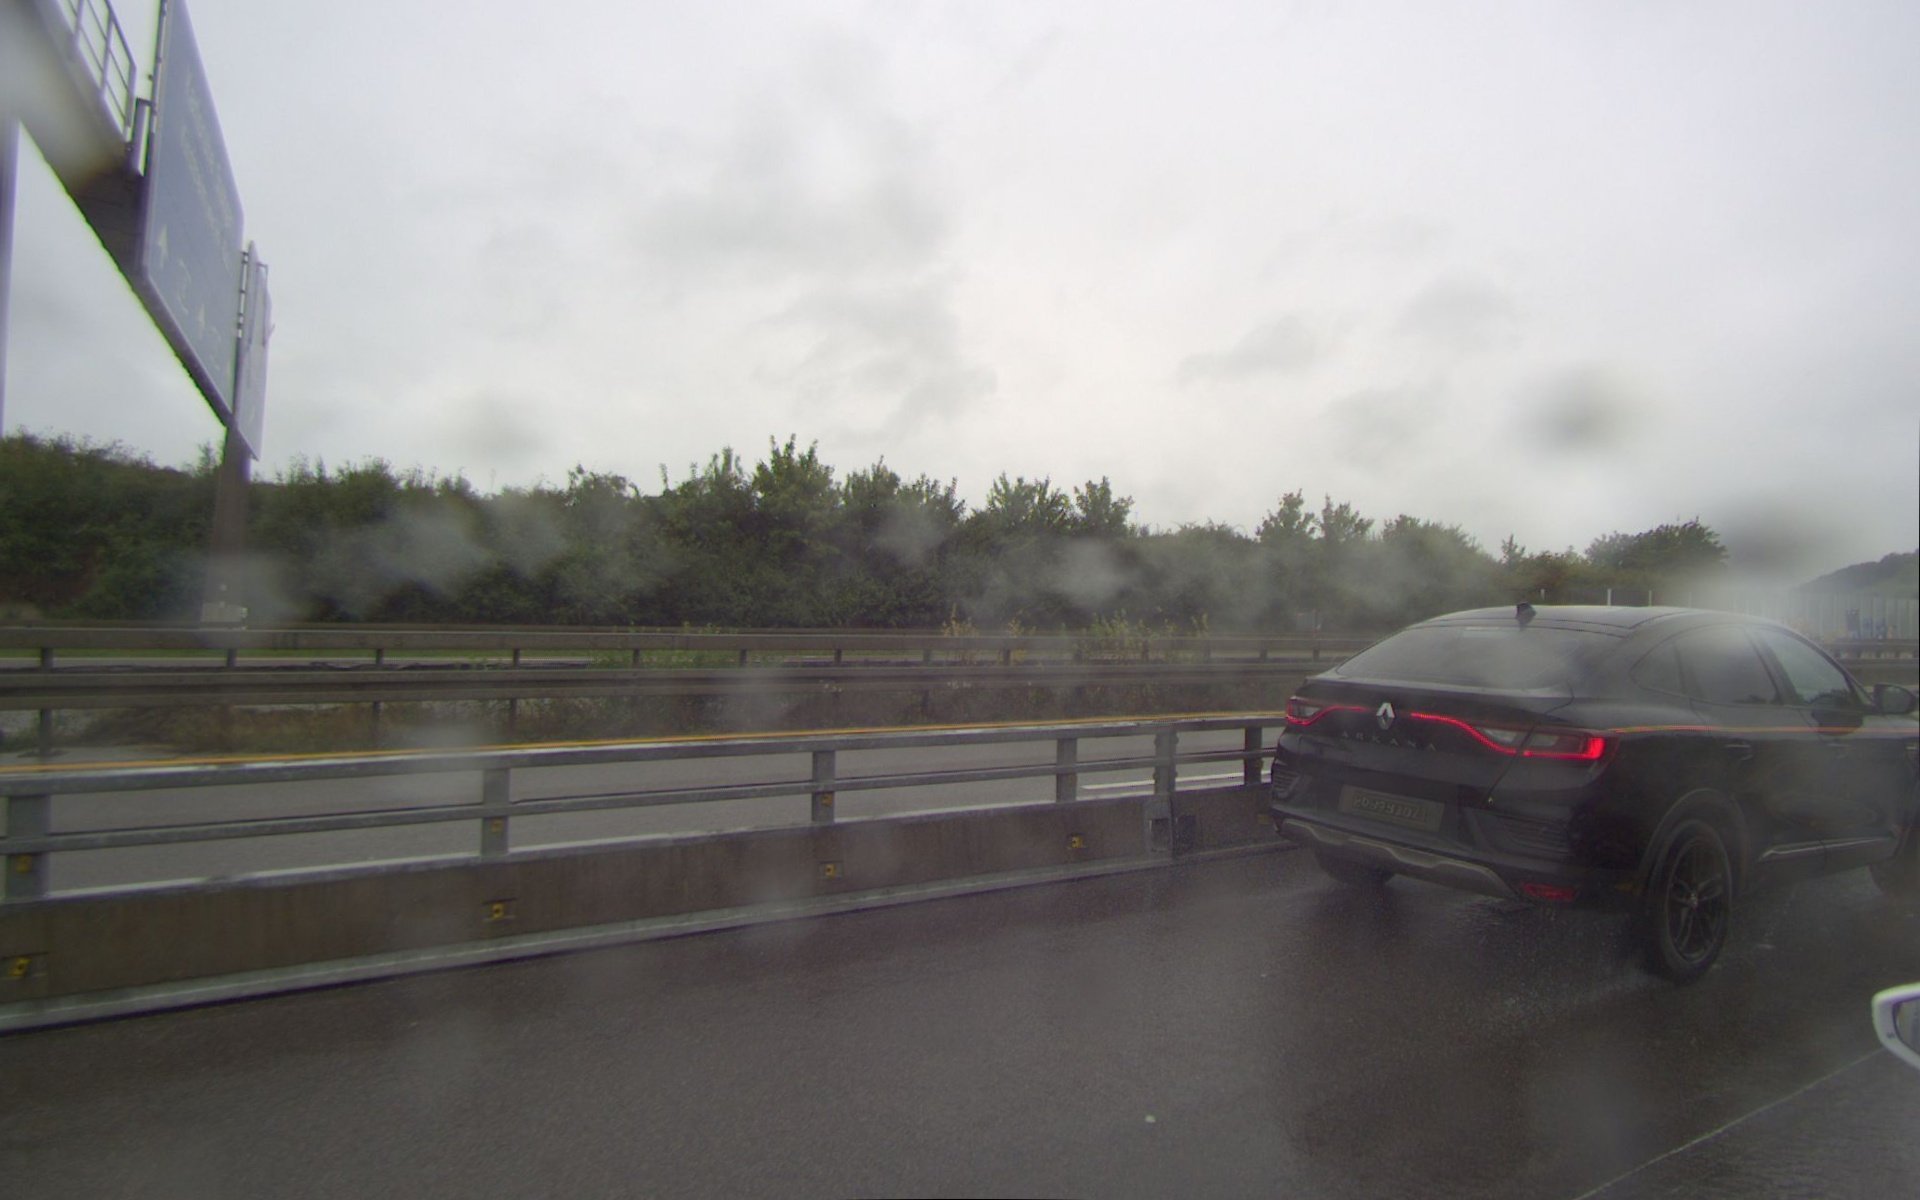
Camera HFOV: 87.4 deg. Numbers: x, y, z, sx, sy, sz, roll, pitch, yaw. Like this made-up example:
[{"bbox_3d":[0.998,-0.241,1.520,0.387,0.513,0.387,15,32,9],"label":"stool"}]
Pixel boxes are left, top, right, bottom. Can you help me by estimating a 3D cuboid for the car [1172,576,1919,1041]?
[{"bbox_3d":[3.484,0.771,5.449,4.363,1.606,1.983,2,0,-31],"label":"car"}]
